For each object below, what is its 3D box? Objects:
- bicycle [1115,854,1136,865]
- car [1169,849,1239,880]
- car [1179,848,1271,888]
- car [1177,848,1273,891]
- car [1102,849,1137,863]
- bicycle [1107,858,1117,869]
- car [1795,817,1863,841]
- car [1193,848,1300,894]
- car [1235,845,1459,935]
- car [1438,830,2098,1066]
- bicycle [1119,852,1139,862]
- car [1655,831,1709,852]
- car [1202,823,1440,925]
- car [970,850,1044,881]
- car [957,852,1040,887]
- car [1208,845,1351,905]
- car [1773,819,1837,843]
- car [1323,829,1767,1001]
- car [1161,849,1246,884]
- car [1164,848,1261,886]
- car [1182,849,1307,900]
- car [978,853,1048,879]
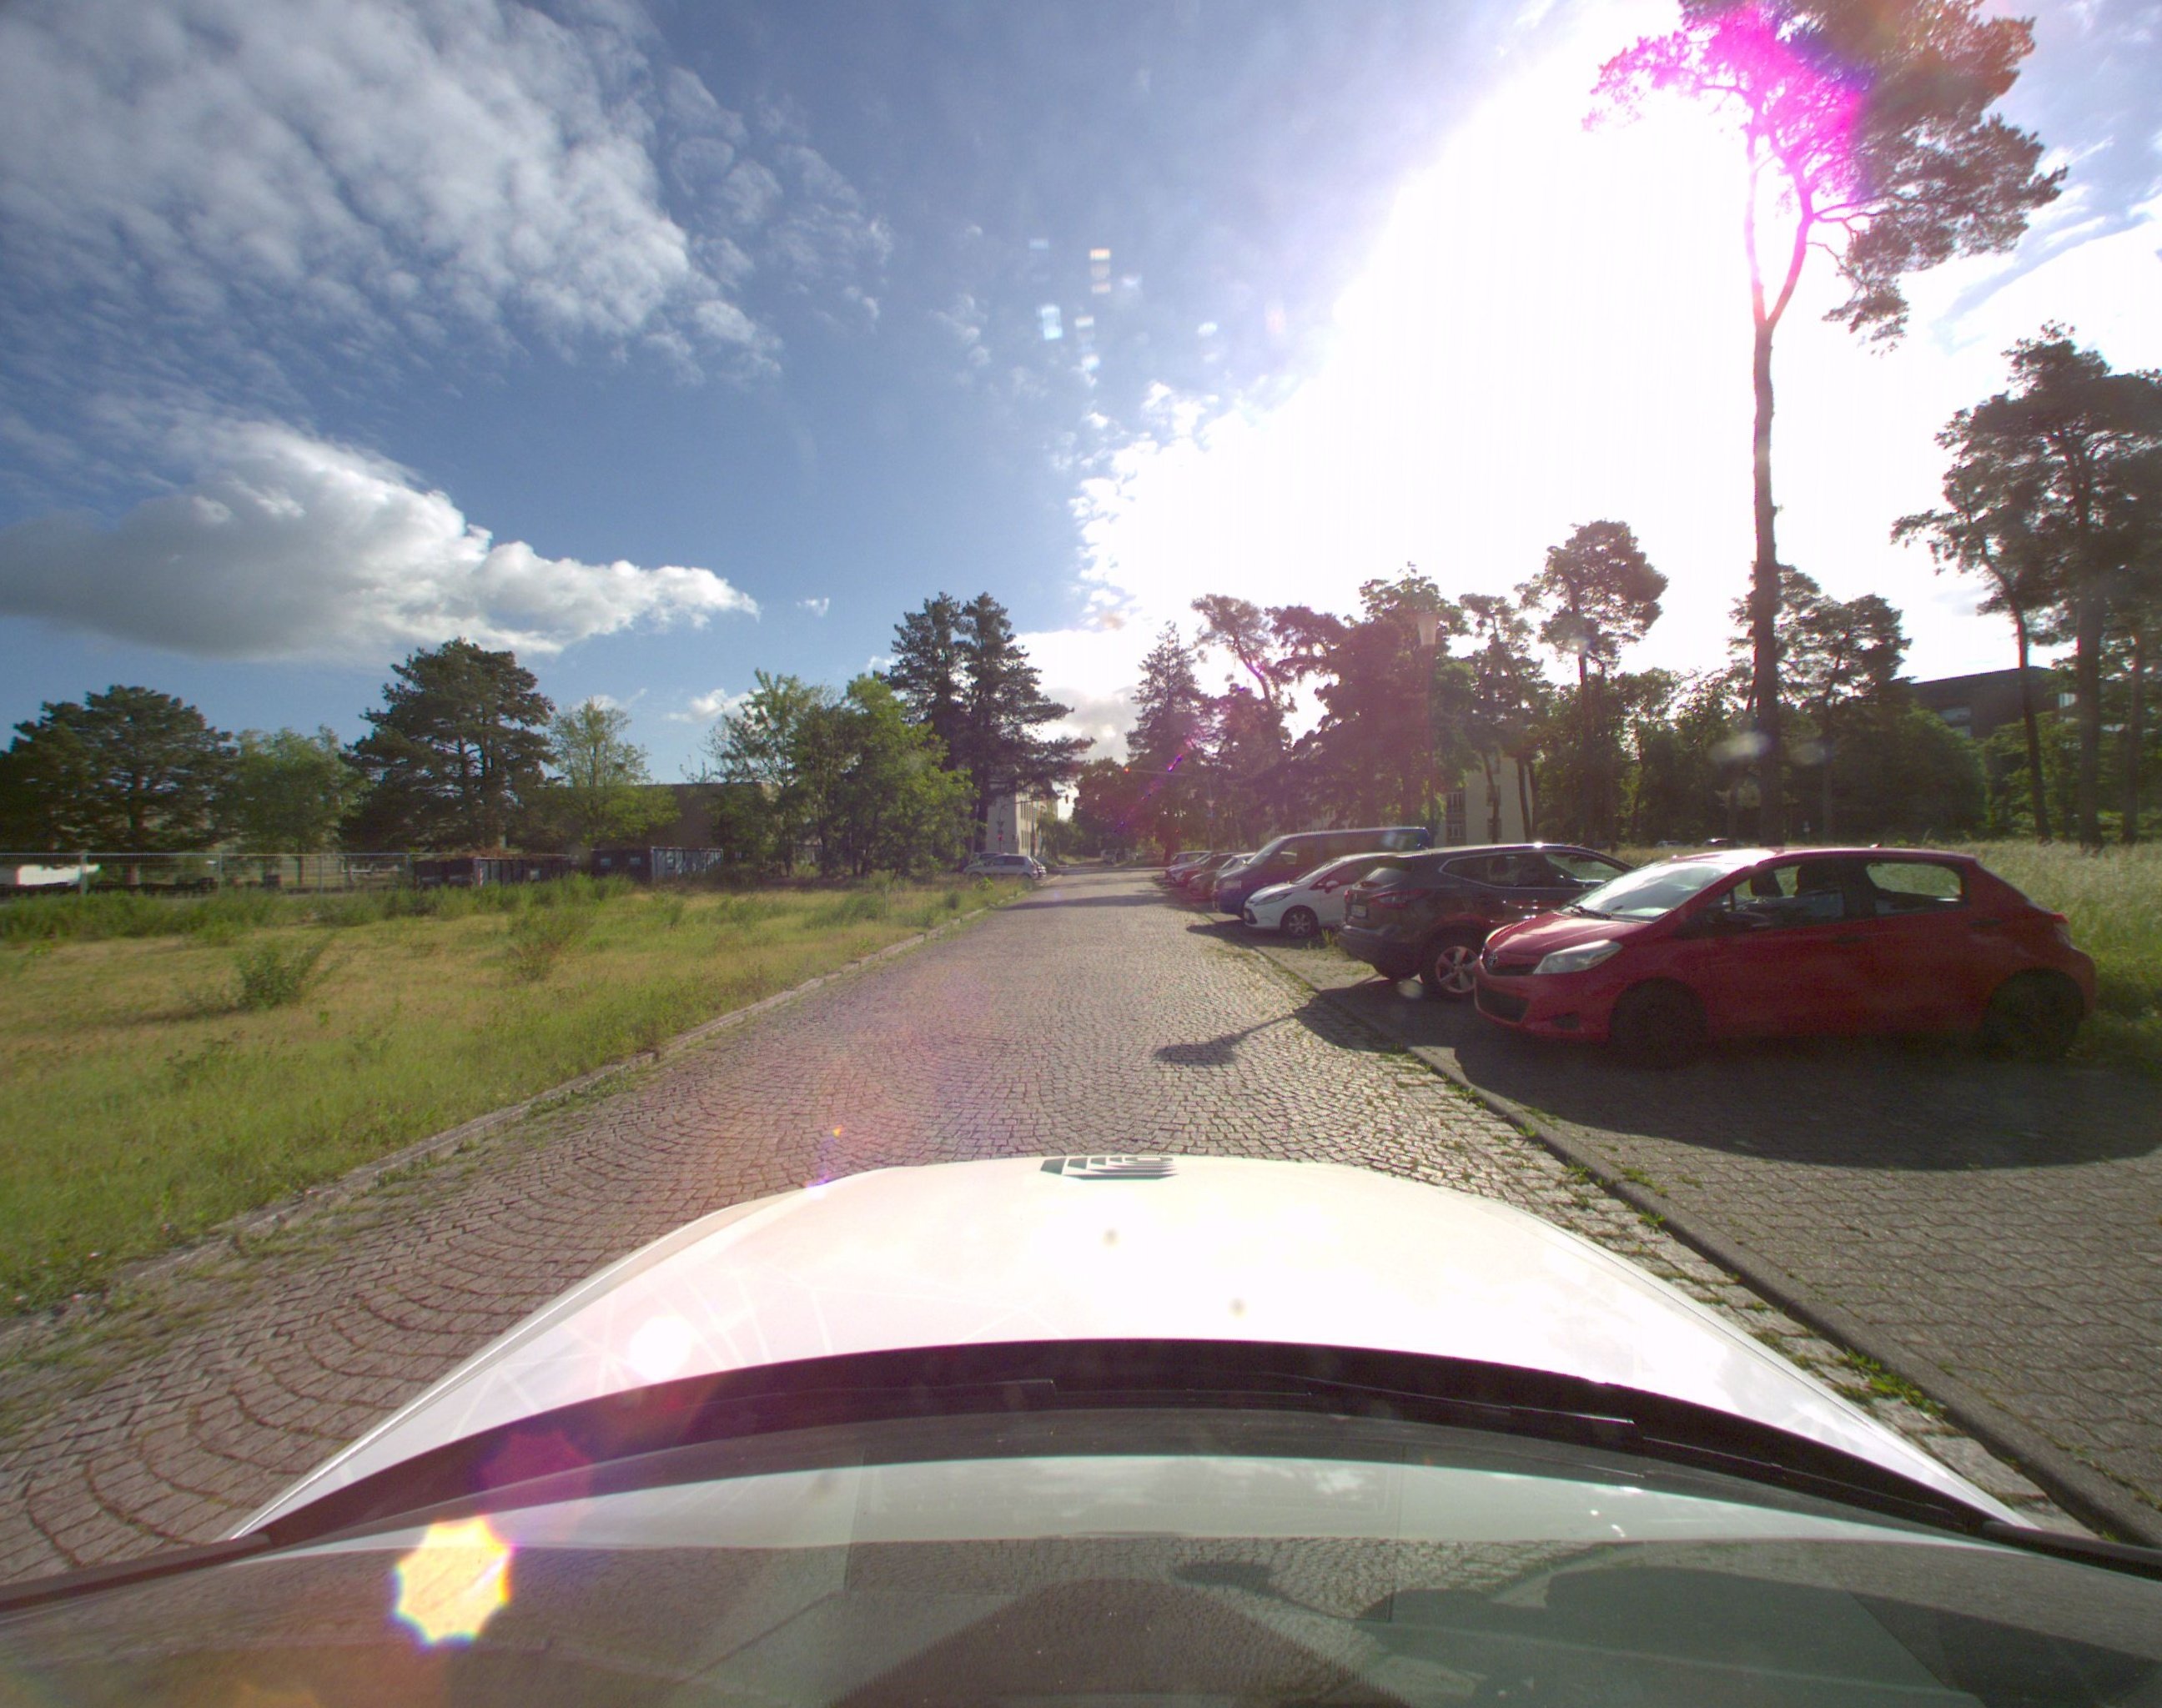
[{"bbox_3d":[4.965,0.606,90.842,2.171,1.100,0.805,-1,0,-8],"label":"bicycle"},{"bbox_3d":[6.258,0.544,41.772,3.332,1.482,1.645,-1,0,0],"label":"car"},{"bbox_3d":[6.016,0.567,34.281,3.590,1.529,1.645,-1,0,0],"label":"car"},{"bbox_3d":[5.584,0.583,31.830,3.466,1.529,1.645,-1,0,0],"label":"car"},{"bbox_3d":[5.105,0.252,108.326,4.464,1.728,2.001,-1,0,1],"label":"car"},{"bbox_3d":[3.349,1.016,87.421,0.803,1.169,2.177,-3,0,-4],"label":"bicycle"},{"bbox_3d":[64.941,-2.157,70.753,3.972,2.013,2.001,-1,0,2],"label":"car"},{"bbox_3d":[5.865,0.586,29.128,3.466,1.529,1.645,-1,0,0],"label":"car"},{"bbox_3d":[4.946,0.646,15.479,3.707,1.488,1.645,-2,0,-1],"label":"car"},{"bbox_3d":[5.034,0.644,6.383,3.748,1.530,1.646,-1,0,1],"label":"car"},{"bbox_3d":[5.406,0.326,92.115,2.171,1.100,0.805,-1,0,-8],"label":"bicycle"},{"bbox_3d":[60.950,-1.230,82.685,3.972,2.013,2.001,-1,0,2],"label":"car"},{"bbox_3d":[5.207,0.410,18.153,4.663,2.013,2.083,-1,0,-1],"label":"car"},{"bbox_3d":[-4.203,0.621,46.671,3.972,1.601,2.001,2,0,1],"label":"car"},{"bbox_3d":[-4.119,0.775,41.274,3.975,1.600,1.999,-1,0,-1],"label":"car"},{"bbox_3d":[5.599,0.588,23.324,3.679,1.465,1.646,-3,0,2],"label":"car"},{"bbox_3d":[64.906,-2.024,73.056,3.972,2.013,2.001,-1,0,2],"label":"car"},{"bbox_3d":[4.914,0.608,9.055,3.922,1.621,1.772,-1,0,0],"label":"car"},{"bbox_3d":[5.859,0.582,39.140,3.822,1.529,1.645,-1,0,0],"label":"car"},{"bbox_3d":[5.808,0.567,36.368,4.023,1.529,1.644,-1,0,-2],"label":"car"},{"bbox_3d":[5.192,0.639,26.225,3.662,1.467,1.645,-2,0,0],"label":"car"},{"bbox_3d":[-4.042,0.713,49.070,3.972,1.453,2.001,2,0,1],"label":"car"}]
